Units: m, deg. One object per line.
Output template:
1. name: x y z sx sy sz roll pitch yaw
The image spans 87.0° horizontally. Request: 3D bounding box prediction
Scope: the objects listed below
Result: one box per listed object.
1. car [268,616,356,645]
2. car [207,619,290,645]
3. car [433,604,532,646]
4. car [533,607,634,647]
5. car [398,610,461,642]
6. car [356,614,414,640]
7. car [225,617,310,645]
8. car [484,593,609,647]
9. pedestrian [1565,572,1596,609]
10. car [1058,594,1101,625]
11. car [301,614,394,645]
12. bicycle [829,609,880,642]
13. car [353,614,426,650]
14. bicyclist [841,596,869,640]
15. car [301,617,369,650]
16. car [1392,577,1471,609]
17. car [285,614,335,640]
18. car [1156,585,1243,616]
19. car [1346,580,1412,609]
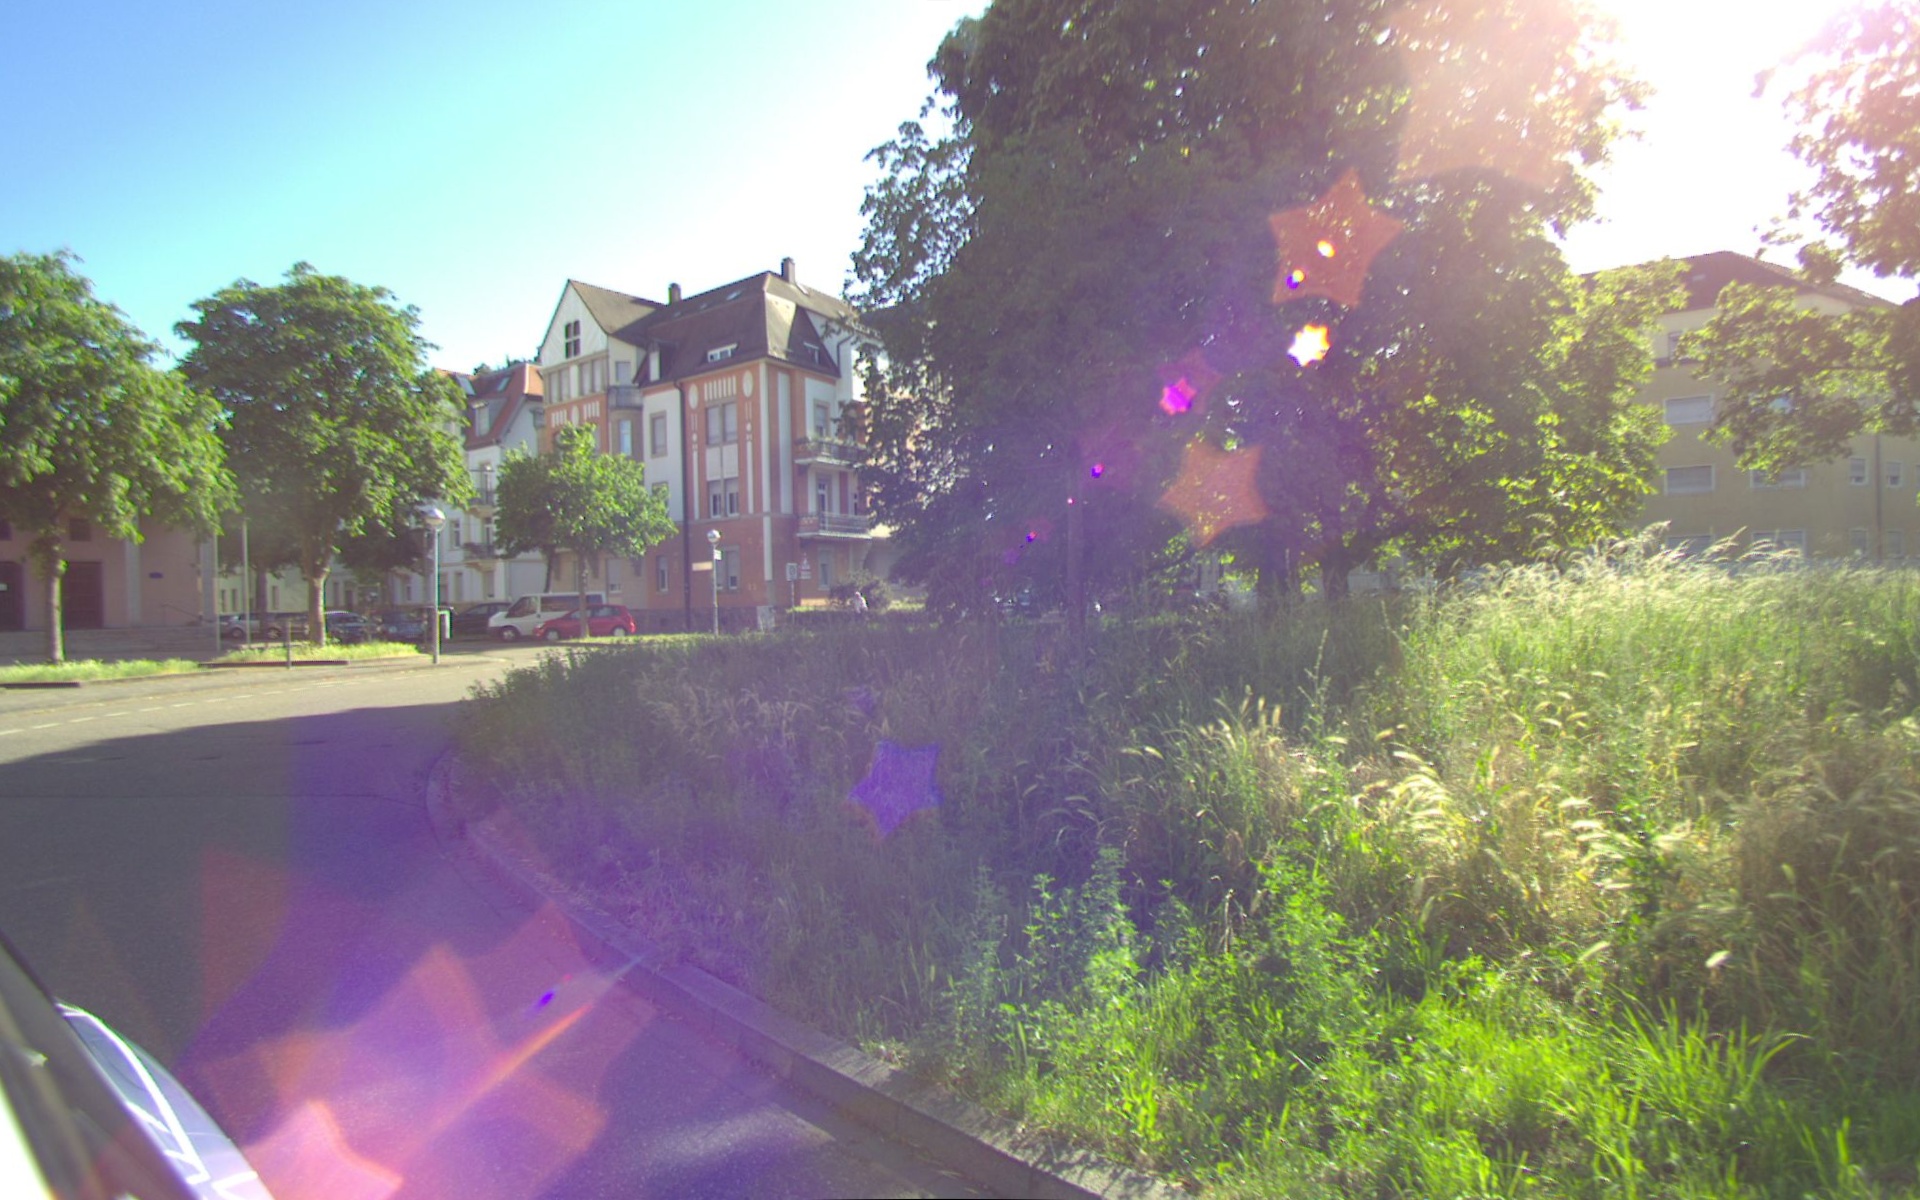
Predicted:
1. car: -37.139 1.713 58.126 3.889 1.507 1.766 -1 0 -15
2. car: -44.762 1.981 63.763 3.889 1.507 1.766 -1 0 -15
3. car: -21.594 1.097 45.947 3.887 1.751 1.767 -1 0 -20
4. car: -14.845 1.040 40.019 3.632 1.446 1.674 -1 0 -20
5. car: -29.326 1.437 55.868 3.953 1.670 1.737 -1 0 41
6. car: -33.868 1.586 59.535 3.953 1.467 1.737 -1 0 41
7. car: -42.179 1.875 61.725 3.889 1.507 1.766 -1 0 -15
8. car: -17.081 0.798 42.046 4.625 2.061 2.000 -1 0 -17
9. pedestrian: 26.680 -0.396 43.502 0.814 1.535 0.698 -2 0 -2
10. car: 6.019 0.467 51.176 1.774 1.446 4.205 -3 0 2
11. car: -32.635 1.553 54.019 3.889 1.507 1.766 -1 0 -15
12. bicycle: -4.167 0.996 39.972 1.839 1.207 0.767 -2 0 -36
13. car: -24.820 1.384 43.977 3.611 1.433 1.592 -2 0 40
14. bicyclist: -4.157 0.706 39.986 0.799 1.709 0.767 -2 0 -36
15. car: -28.732 1.519 46.479 3.611 1.433 1.592 -2 0 40
16. car: 22.584 -0.312 48.662 1.709 1.422 4.489 -2 0 0
17. car: -43.359 1.822 67.467 3.953 1.629 1.737 -1 0 41
18. car: 12.253 0.045 51.944 3.998 1.484 1.735 -2 -1 41
19. car: 22.504 -0.292 54.567 1.711 1.450 4.386 -1 0 0
